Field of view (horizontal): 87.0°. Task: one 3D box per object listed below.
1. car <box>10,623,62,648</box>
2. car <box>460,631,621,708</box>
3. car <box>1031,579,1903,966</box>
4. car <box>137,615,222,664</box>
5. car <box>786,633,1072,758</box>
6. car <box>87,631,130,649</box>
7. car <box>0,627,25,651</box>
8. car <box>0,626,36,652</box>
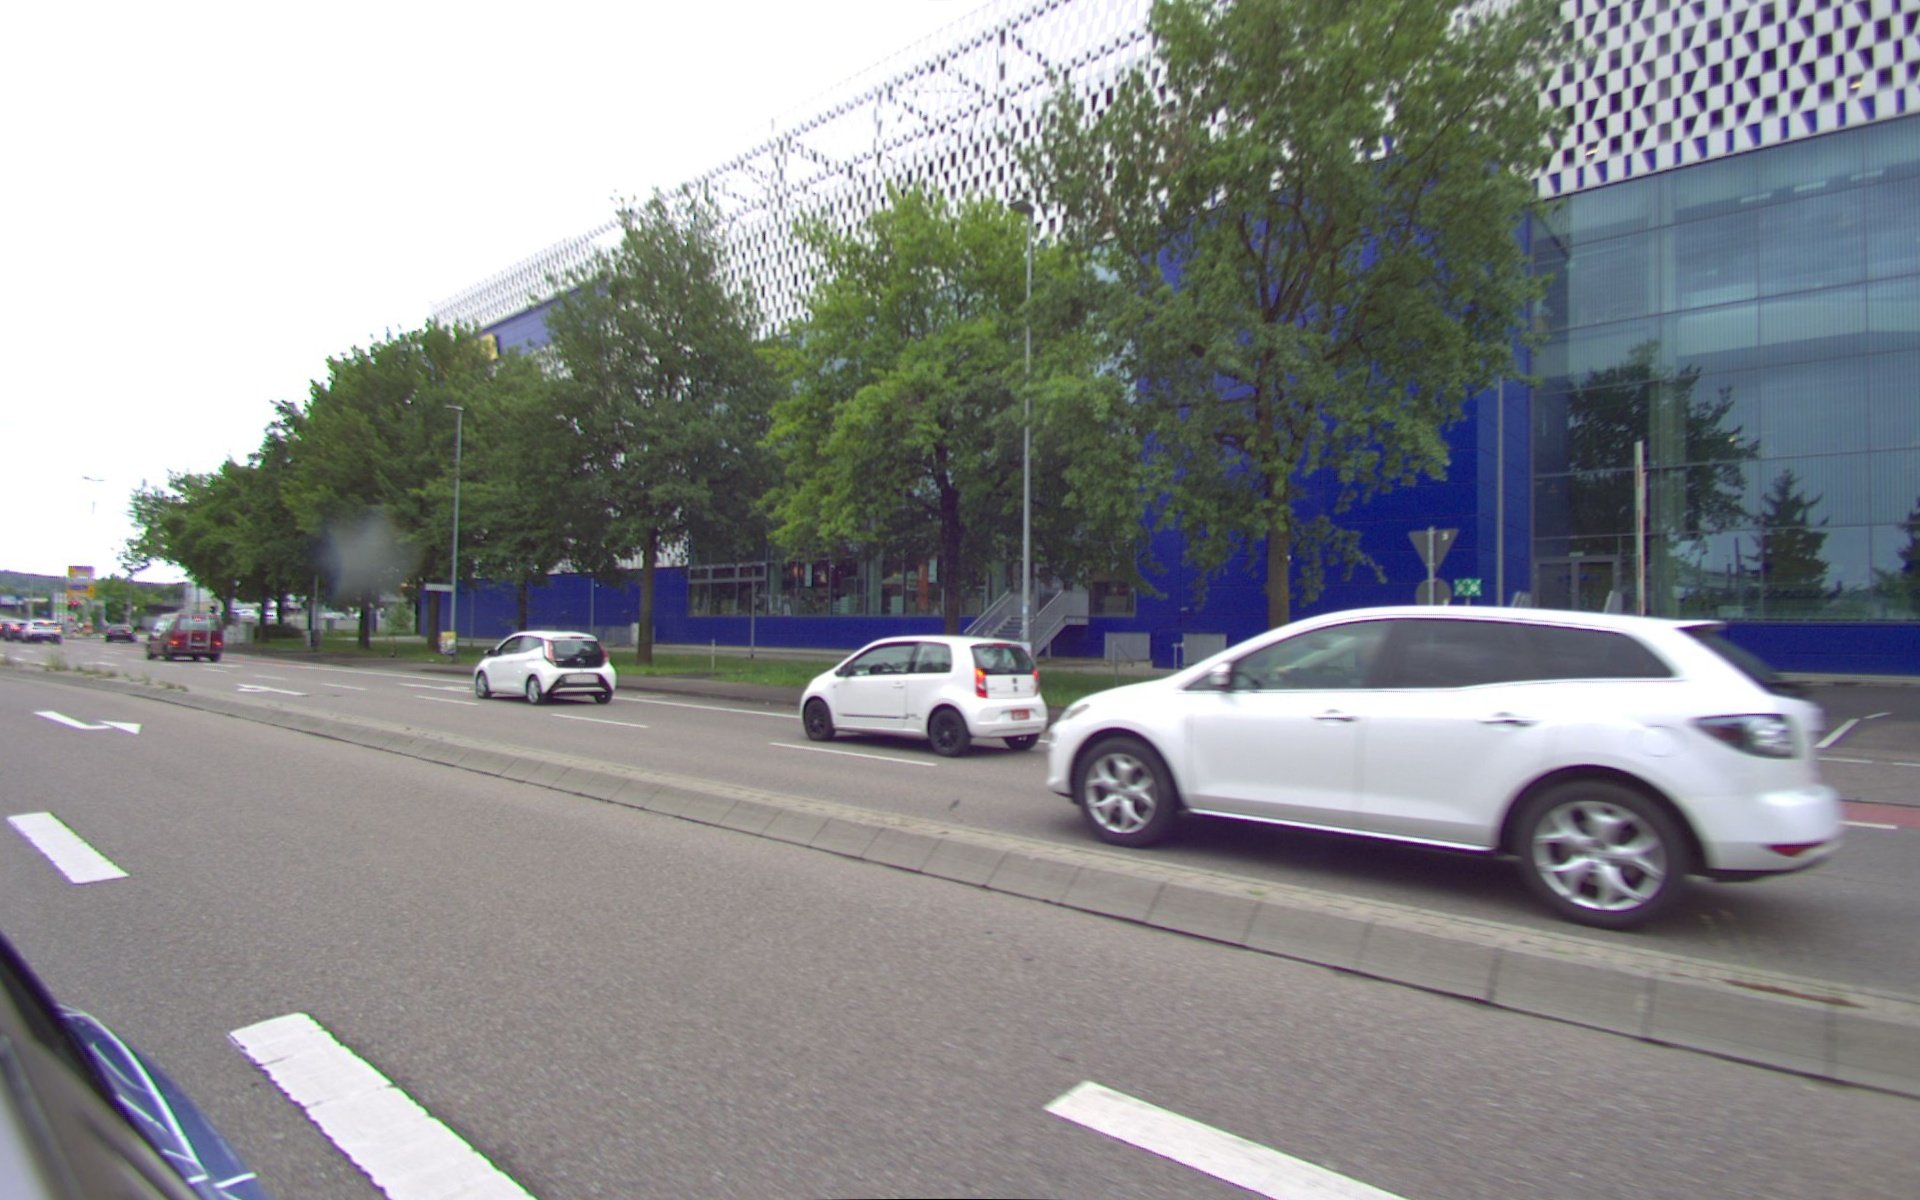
[{"bbox_3d":[-62.849,2.427,68.820,3.972,1.624,1.707,-1,-5,36],"label":"car"},{"bbox_3d":[-8.714,1.391,20.936,3.610,1.434,1.607,-1,-4,41],"label":"car"},{"bbox_3d":[2.797,0.815,6.394,4.511,1.599,1.799,-2,-5,41],"label":"car"},{"bbox_3d":[-32.702,1.638,42.380,4.905,1.939,1.749,-1,-4,40],"label":"car"},{"bbox_3d":[-0.487,1.187,13.508,3.649,1.439,1.658,-2,-4,41],"label":"car"},{"bbox_3d":[-68.608,3.205,81.556,3.972,1.401,1.631,-1,-5,36],"label":"car"},{"bbox_3d":[-75.028,3.045,79.323,3.972,1.812,1.631,-1,-5,36],"label":"car"},{"bbox_3d":[-67.825,2.782,72.431,3.972,1.812,1.631,-1,-5,36],"label":"car"}]
